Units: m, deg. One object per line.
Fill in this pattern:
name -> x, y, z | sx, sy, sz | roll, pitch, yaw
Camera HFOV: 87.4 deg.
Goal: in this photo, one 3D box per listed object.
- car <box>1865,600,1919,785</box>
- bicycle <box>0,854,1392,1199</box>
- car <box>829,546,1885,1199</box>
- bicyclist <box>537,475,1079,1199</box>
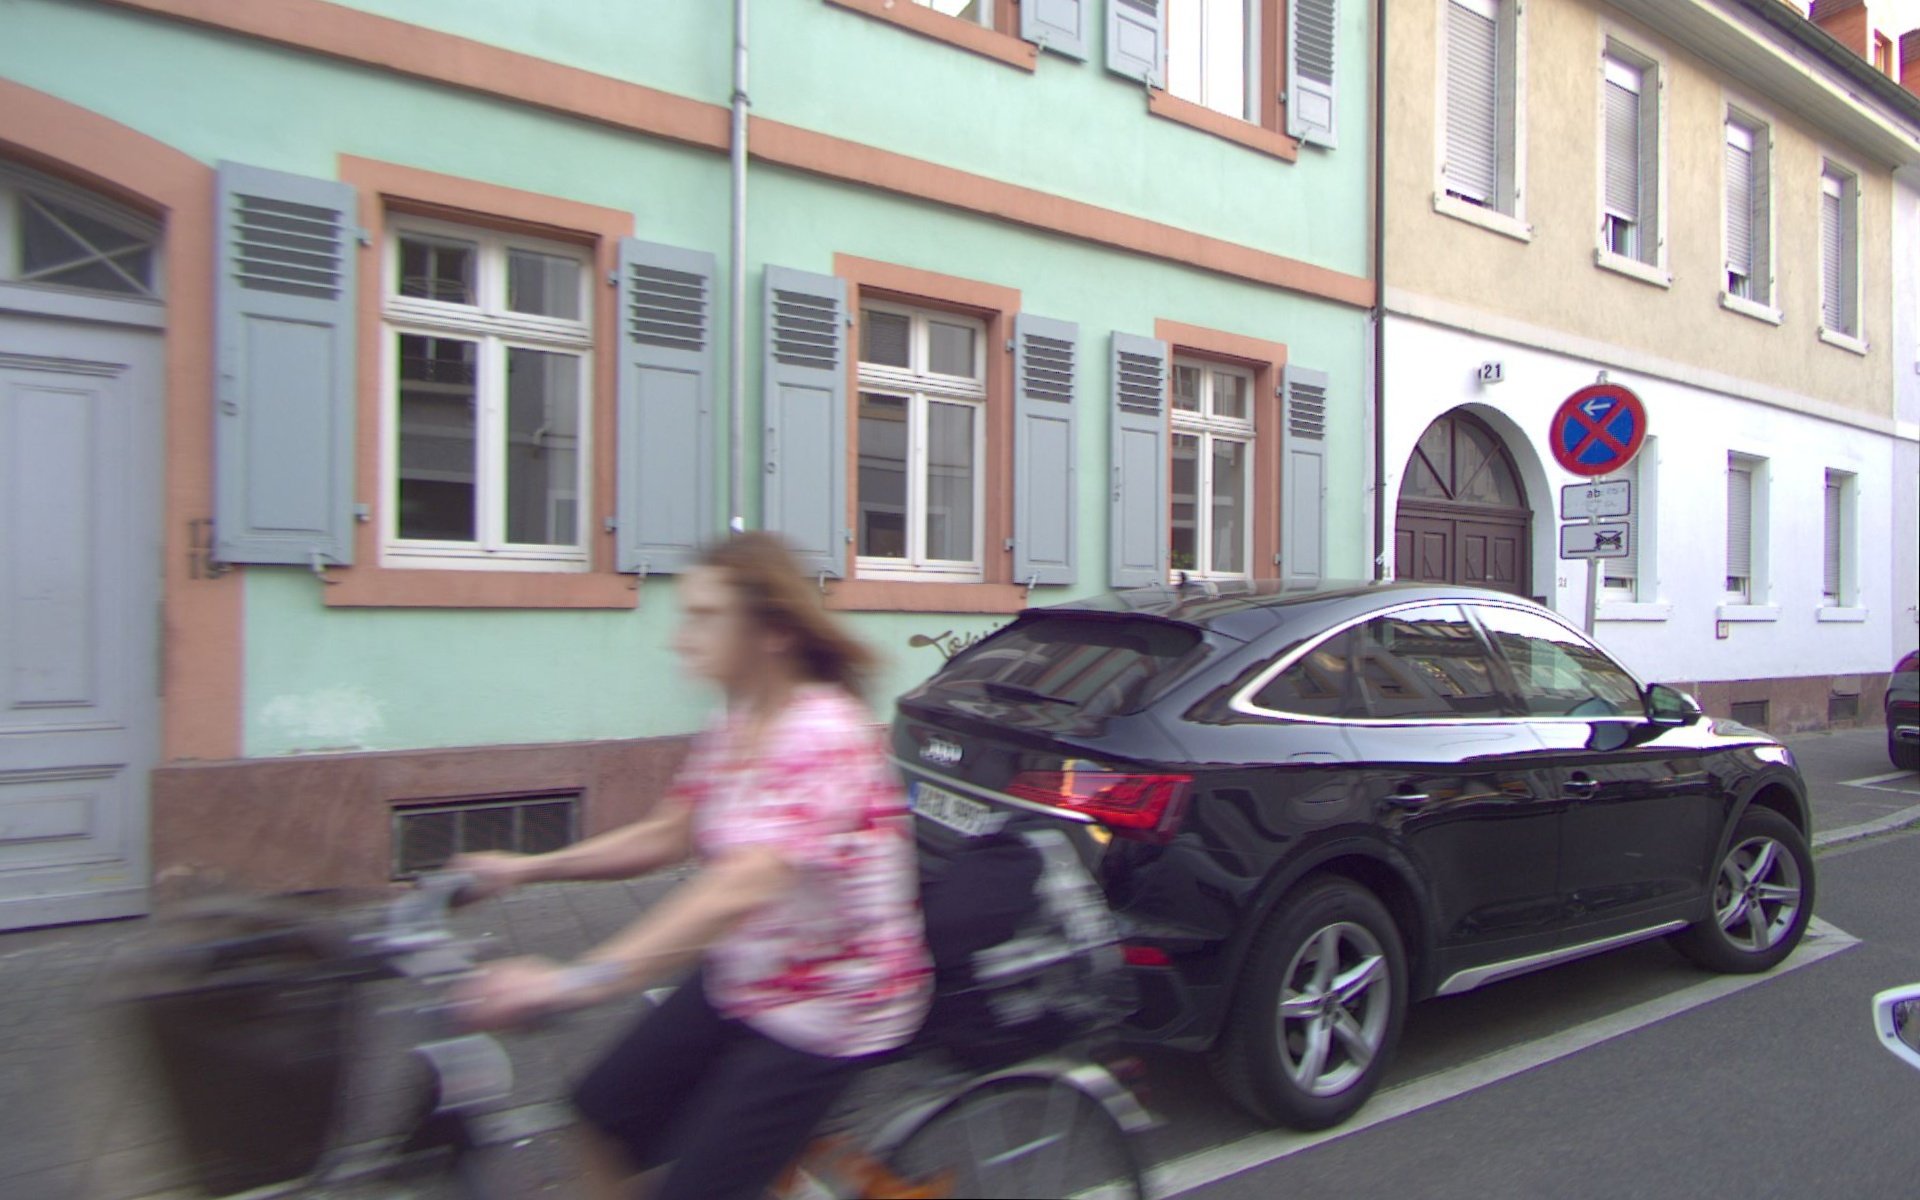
car -> 11.242, 0.908, 10.102 | 4.484, 1.730, 1.987 | 1, 0, -31
bicycle -> -0.259, 1.005, 1.451 | 1.863, 0.945, 0.611 | 1, -1, -29
car -> 1.839, 0.763, 4.290 | 4.434, 1.699, 1.795 | 1, -1, -29
bicyclist -> -0.256, 0.570, 1.458 | 0.613, 1.388, 0.603 | 1, 0, -27
